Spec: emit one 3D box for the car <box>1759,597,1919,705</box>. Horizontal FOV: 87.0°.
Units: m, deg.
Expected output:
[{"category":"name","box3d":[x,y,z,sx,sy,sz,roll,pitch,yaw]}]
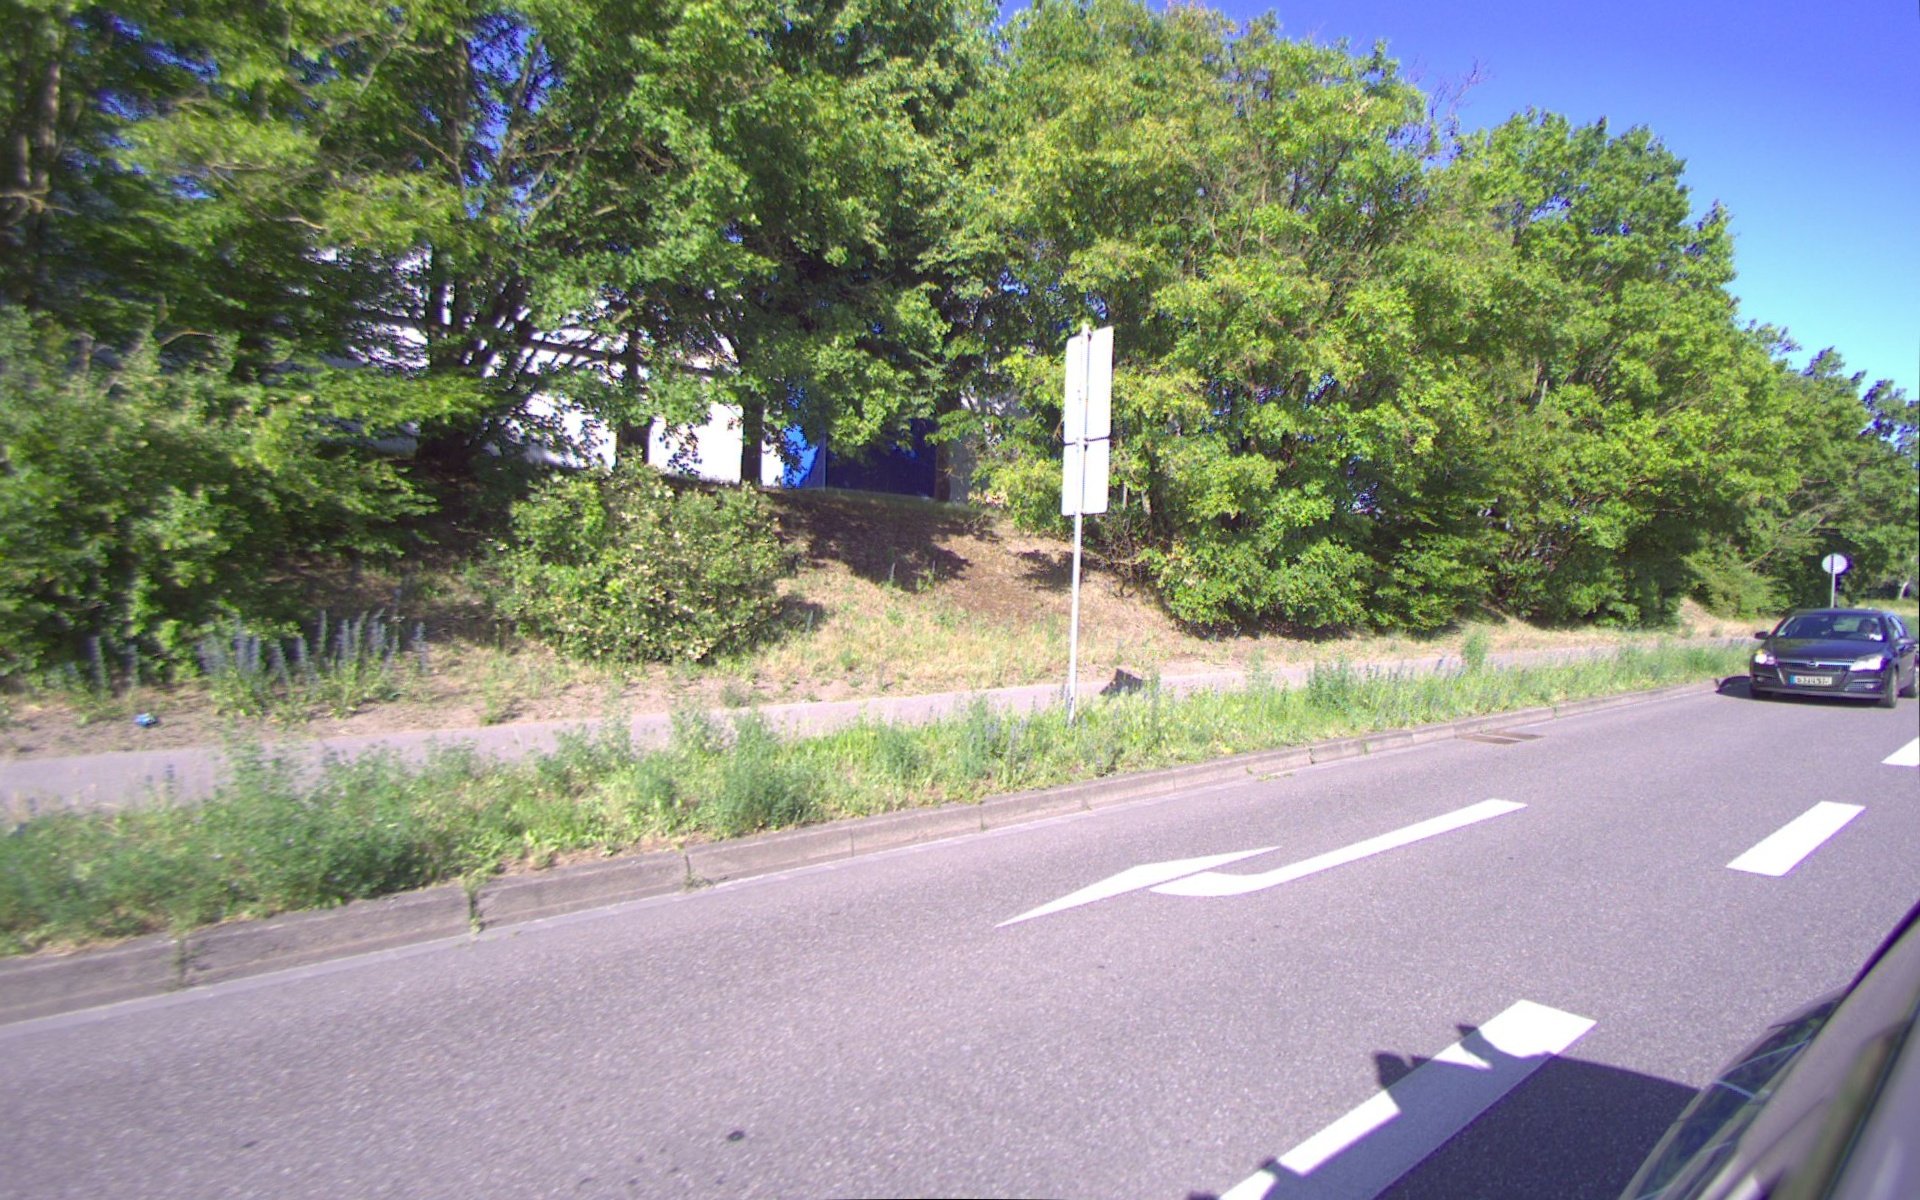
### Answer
[{"category":"car","box3d":[14.292,0.715,16.175,3.890,1.473,1.705,0,1,-41]}]
